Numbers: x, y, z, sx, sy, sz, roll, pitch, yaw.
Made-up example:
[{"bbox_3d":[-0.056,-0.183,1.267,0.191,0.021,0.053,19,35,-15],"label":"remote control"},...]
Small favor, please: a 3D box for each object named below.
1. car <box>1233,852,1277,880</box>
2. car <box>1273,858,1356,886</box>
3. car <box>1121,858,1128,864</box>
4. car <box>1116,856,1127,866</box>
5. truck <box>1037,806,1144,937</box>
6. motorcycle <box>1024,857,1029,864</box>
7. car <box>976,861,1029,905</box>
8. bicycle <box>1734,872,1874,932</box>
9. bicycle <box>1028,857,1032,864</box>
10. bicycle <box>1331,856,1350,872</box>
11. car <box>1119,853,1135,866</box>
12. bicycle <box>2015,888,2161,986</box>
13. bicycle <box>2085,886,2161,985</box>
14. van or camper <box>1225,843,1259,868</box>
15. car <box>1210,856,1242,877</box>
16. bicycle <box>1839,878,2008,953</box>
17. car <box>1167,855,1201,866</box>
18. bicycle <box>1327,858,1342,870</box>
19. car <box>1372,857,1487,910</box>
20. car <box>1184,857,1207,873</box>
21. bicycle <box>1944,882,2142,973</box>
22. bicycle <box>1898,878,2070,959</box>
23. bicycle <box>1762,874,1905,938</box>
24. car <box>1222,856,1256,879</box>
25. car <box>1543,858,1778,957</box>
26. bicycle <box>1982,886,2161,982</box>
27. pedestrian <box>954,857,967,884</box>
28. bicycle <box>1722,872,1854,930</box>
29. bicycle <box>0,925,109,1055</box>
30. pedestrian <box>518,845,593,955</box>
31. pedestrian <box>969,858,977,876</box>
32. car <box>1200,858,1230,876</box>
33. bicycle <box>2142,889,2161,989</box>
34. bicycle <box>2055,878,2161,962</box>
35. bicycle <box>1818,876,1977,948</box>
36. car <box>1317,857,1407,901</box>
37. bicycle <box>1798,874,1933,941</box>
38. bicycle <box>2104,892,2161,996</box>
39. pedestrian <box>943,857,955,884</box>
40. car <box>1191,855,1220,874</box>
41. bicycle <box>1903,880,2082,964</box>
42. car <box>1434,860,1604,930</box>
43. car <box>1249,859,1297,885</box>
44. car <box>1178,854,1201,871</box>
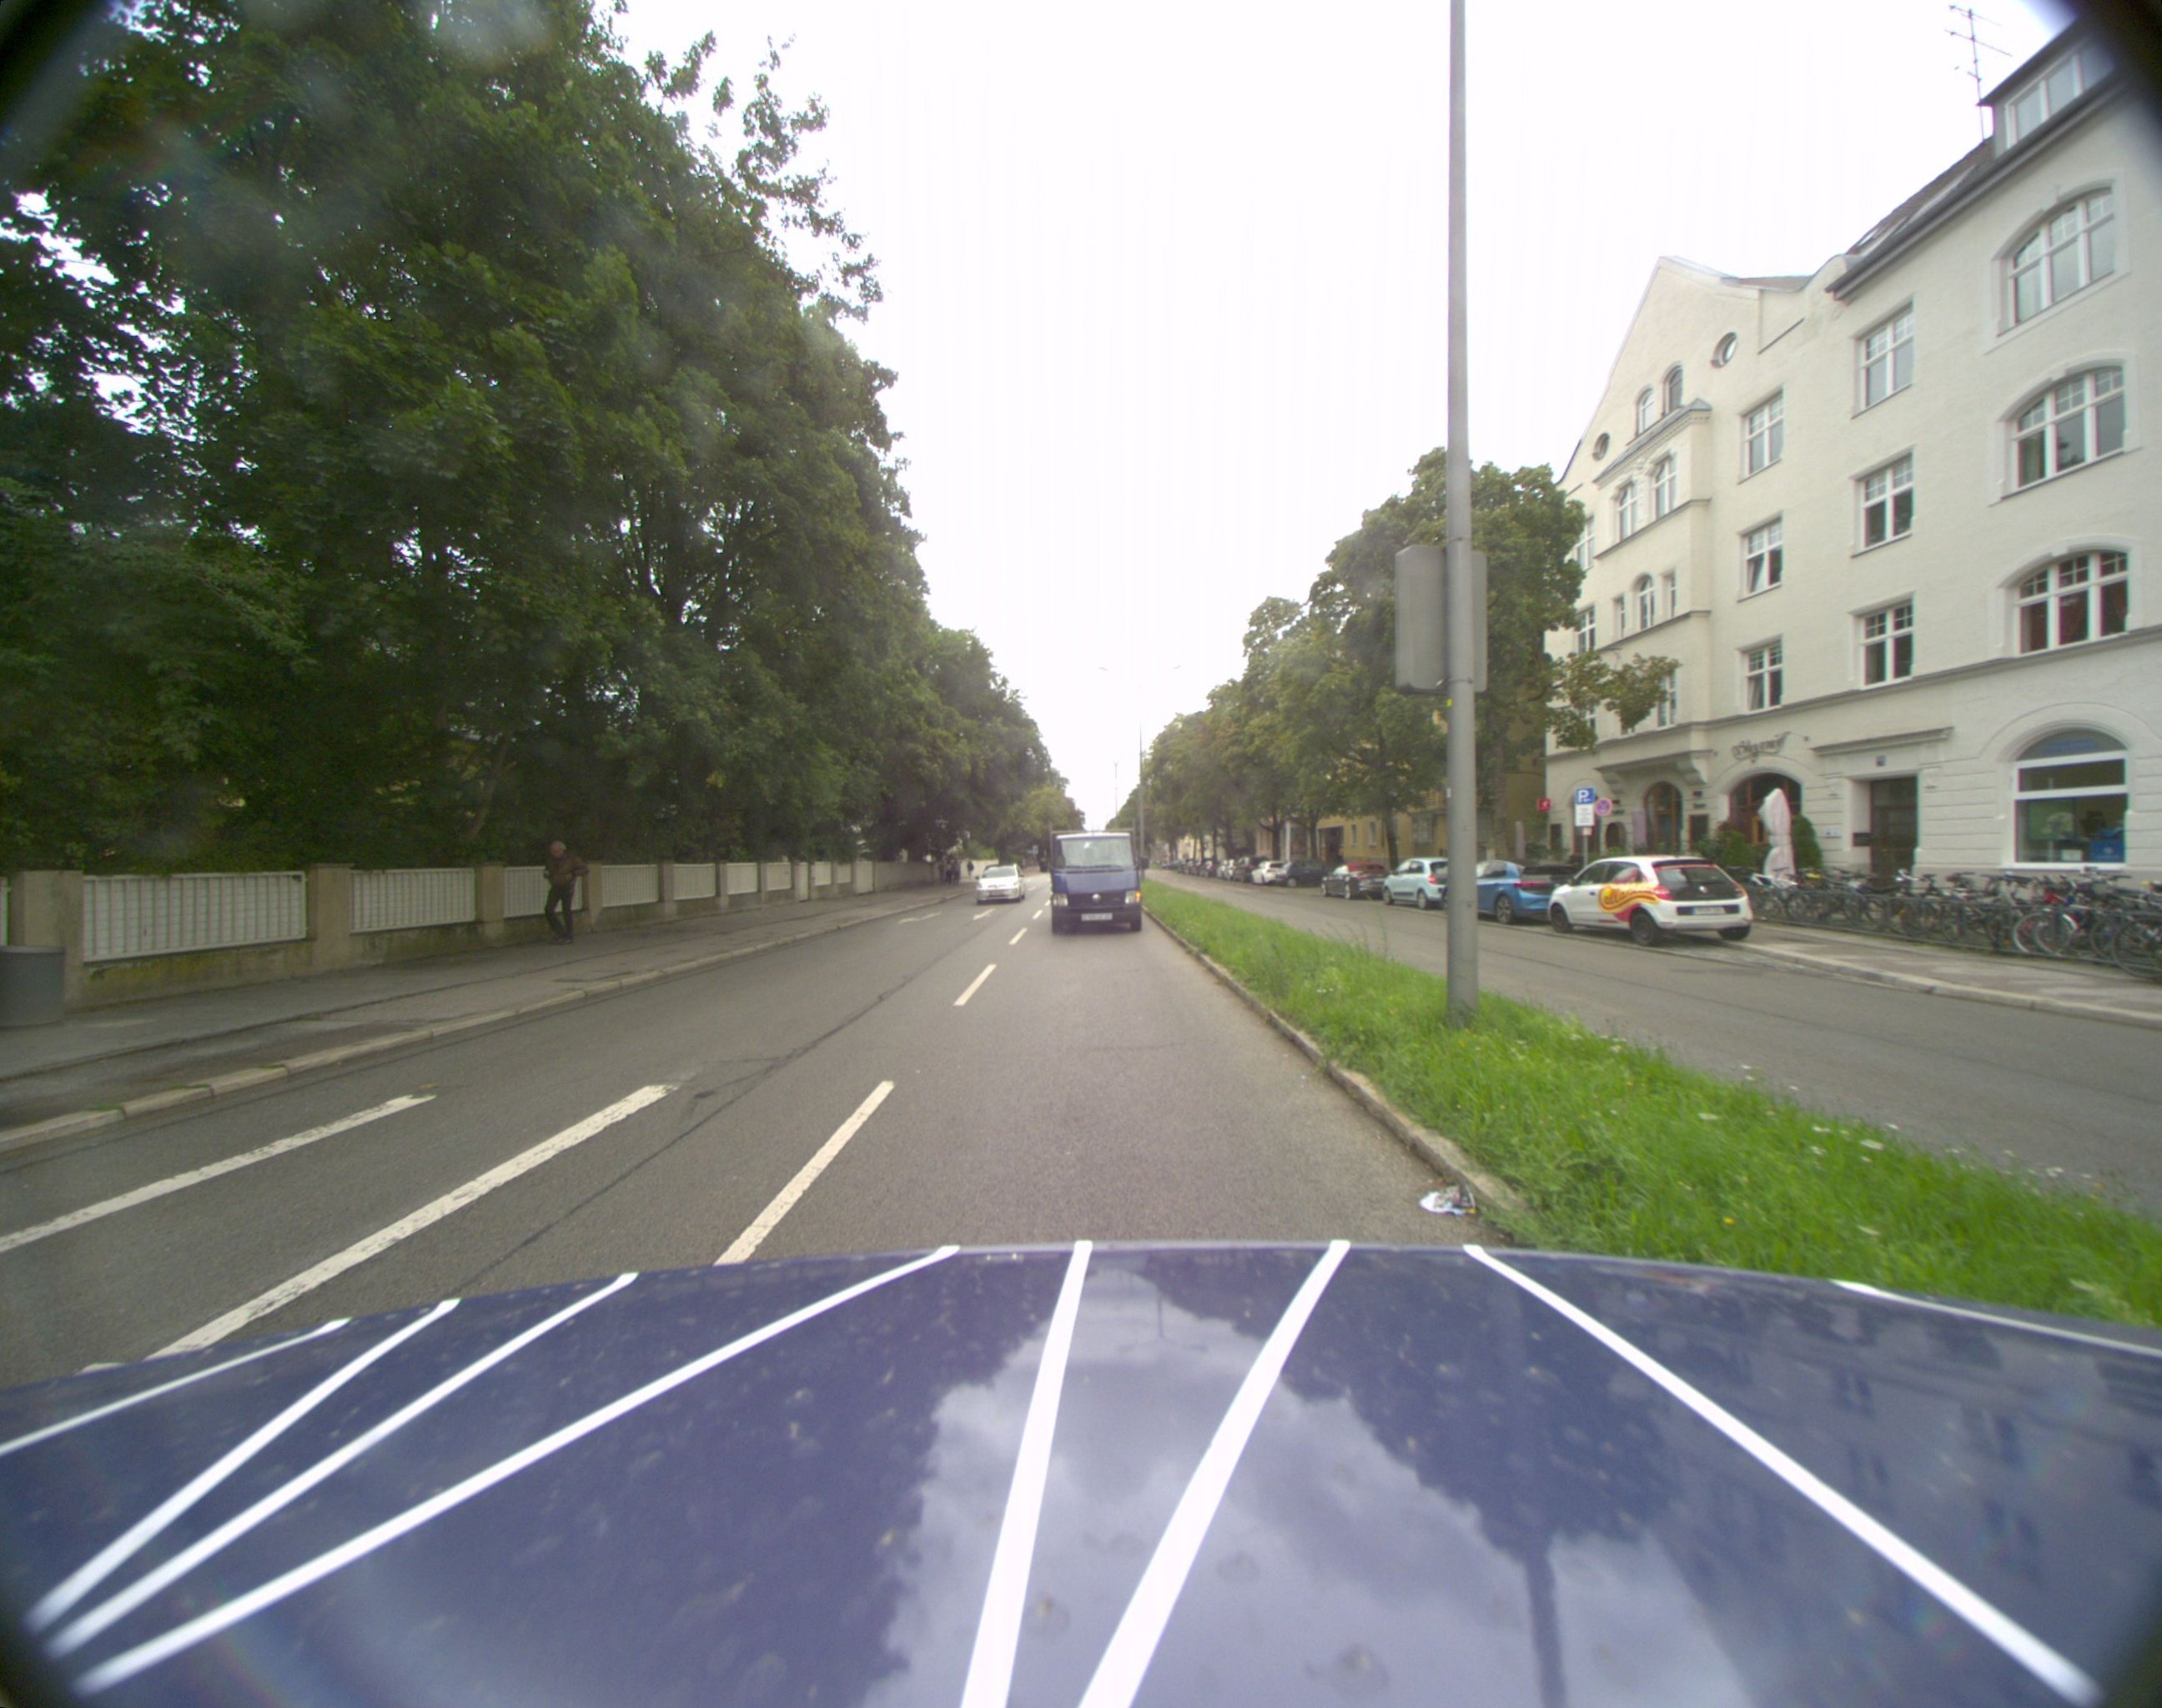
[{"bbox_3d":[11.271,0.737,49.567,1.815,1.718,4.767,-1,0,1],"label":"car"},{"bbox_3d":[12.370,0.938,40.441,3.899,1.455,1.732,0,0,-1],"label":"car"},{"bbox_3d":[12.382,1.985,217.123,1.872,1.827,4.000,-1,0,1],"label":"car"},{"bbox_3d":[6.984,1.238,132.269,1.774,1.669,4.369,1,0,1],"label":"car"},{"bbox_3d":[0.225,0.332,17.129,1.998,2.475,5.151,-1,0,1],"label":"truck"},{"bbox_3d":[-8.668,1.023,120.664,0.497,1.135,1.631,-1,0,-9],"label":"motorcycle"},{"bbox_3d":[-2.990,1.060,29.551,1.647,1.553,3.586,-1,0,0],"label":"car"},{"bbox_3d":[14.538,0.930,15.345,0.505,1.109,1.984,-1,0,-31],"label":"bicycle"},{"bbox_3d":[-8.650,1.084,128.194,0.490,1.092,1.631,-1,0,-9],"label":"bicycle"},{"bbox_3d":[19.439,0.735,56.960,0.771,1.215,1.931,-1,0,0],"label":"bicycle"},{"bbox_3d":[5.956,0.740,98.519,1.880,1.575,4.621,1,0,2],"label":"car"},{"bbox_3d":[12.845,1.006,9.346,0.331,1.109,1.678,-1,0,-23],"label":"bicycle"},{"bbox_3d":[12.702,0.949,8.536,0.367,1.109,1.678,-1,0,-23],"label":"bicycle"},{"bbox_3d":[17.435,0.118,82.577,2.351,2.564,6.851,1,0,1],"label":"van or camper"},{"bbox_3d":[11.143,0.931,58.567,1.731,1.552,4.057,-1,0,1],"label":"car"},{"bbox_3d":[13.831,0.970,12.552,0.331,1.109,1.871,-1,0,-23],"label":"bicycle"},{"bbox_3d":[13.394,0.838,98.801,3.989,1.367,1.866,-2,-1,30],"label":"car"},{"bbox_3d":[19.777,0.805,59.259,0.543,0.894,1.931,-1,0,1],"label":"bicycle"},{"bbox_3d":[10.817,0.859,23.891,1.815,1.498,3.960,-1,0,1],"label":"car"},{"bbox_3d":[11.251,1.054,74.812,1.696,1.446,4.492,-1,0,1],"label":"car"},{"bbox_3d":[13.253,0.976,10.541,0.331,1.109,1.678,-1,0,-23],"label":"bicycle"},{"bbox_3d":[13.756,0.941,11.645,0.331,1.109,1.678,-1,0,-23],"label":"bicycle"},{"bbox_3d":[14.393,0.953,14.601,0.550,1.109,1.877,-1,0,-31],"label":"bicycle"},{"bbox_3d":[11.183,0.920,54.046,1.731,1.548,3.009,-1,0,-1],"label":"car"},{"bbox_3d":[10.629,0.890,14.334,1.653,1.576,3.790,-1,0,3],"label":"car"},{"bbox_3d":[13.030,0.997,9.861,0.383,1.109,1.678,-1,0,-23],"label":"bicycle"},{"bbox_3d":[-7.738,1.037,48.858,0.668,1.683,0.729,1,1,0],"label":"pedestrian"},{"bbox_3d":[14.715,0.937,15.887,0.460,1.109,1.961,-1,0,-31],"label":"bicycle"},{"bbox_3d":[-9.851,1.237,6.429,0.624,1.084,2.026,-1,0,0],"label":"bicycle"},{"bbox_3d":[-9.487,0.809,13.748,0.779,1.931,0.802,0,1,1],"label":"pedestrian"},{"bbox_3d":[-9.124,1.103,64.415,0.529,1.572,0.729,1,1,0],"label":"pedestrian"},{"bbox_3d":[11.054,1.051,63.062,1.731,1.397,4.363,-1,0,1],"label":"car"},{"bbox_3d":[12.533,0.954,7.923,0.331,1.109,1.678,-1,0,-23],"label":"bicycle"},{"bbox_3d":[14.776,0.907,10.444,0.331,1.109,1.678,-1,0,-23],"label":"bicycle"},{"bbox_3d":[14.019,0.955,13.130,0.331,1.109,1.871,-1,0,-23],"label":"bicycle"},{"bbox_3d":[10.807,0.908,29.583,1.815,1.498,4.645,-1,0,1],"label":"car"},{"bbox_3d":[14.225,0.940,13.832,0.331,1.109,1.677,-1,0,-27],"label":"bicycle"},{"bbox_3d":[12.105,0.986,7.921,0.368,1.109,1.678,-1,0,-23],"label":"bicycle"},{"bbox_3d":[-8.487,1.030,48.877,0.668,1.695,0.766,1,1,0],"label":"pedestrian"},{"bbox_3d":[11.286,0.893,69.046,1.883,1.636,4.770,-1,0,1],"label":"car"},{"bbox_3d":[13.452,0.965,11.286,0.331,1.109,1.678,-1,0,-23],"label":"bicycle"},{"bbox_3d":[10.734,0.930,19.034,1.815,1.498,4.291,-1,0,1],"label":"car"},{"bbox_3d":[11.037,1.003,43.929,1.731,1.394,4.404,-1,0,1],"label":"car"},{"bbox_3d":[11.382,0.859,79.997,1.878,1.677,4.438,-1,0,1],"label":"car"}]
